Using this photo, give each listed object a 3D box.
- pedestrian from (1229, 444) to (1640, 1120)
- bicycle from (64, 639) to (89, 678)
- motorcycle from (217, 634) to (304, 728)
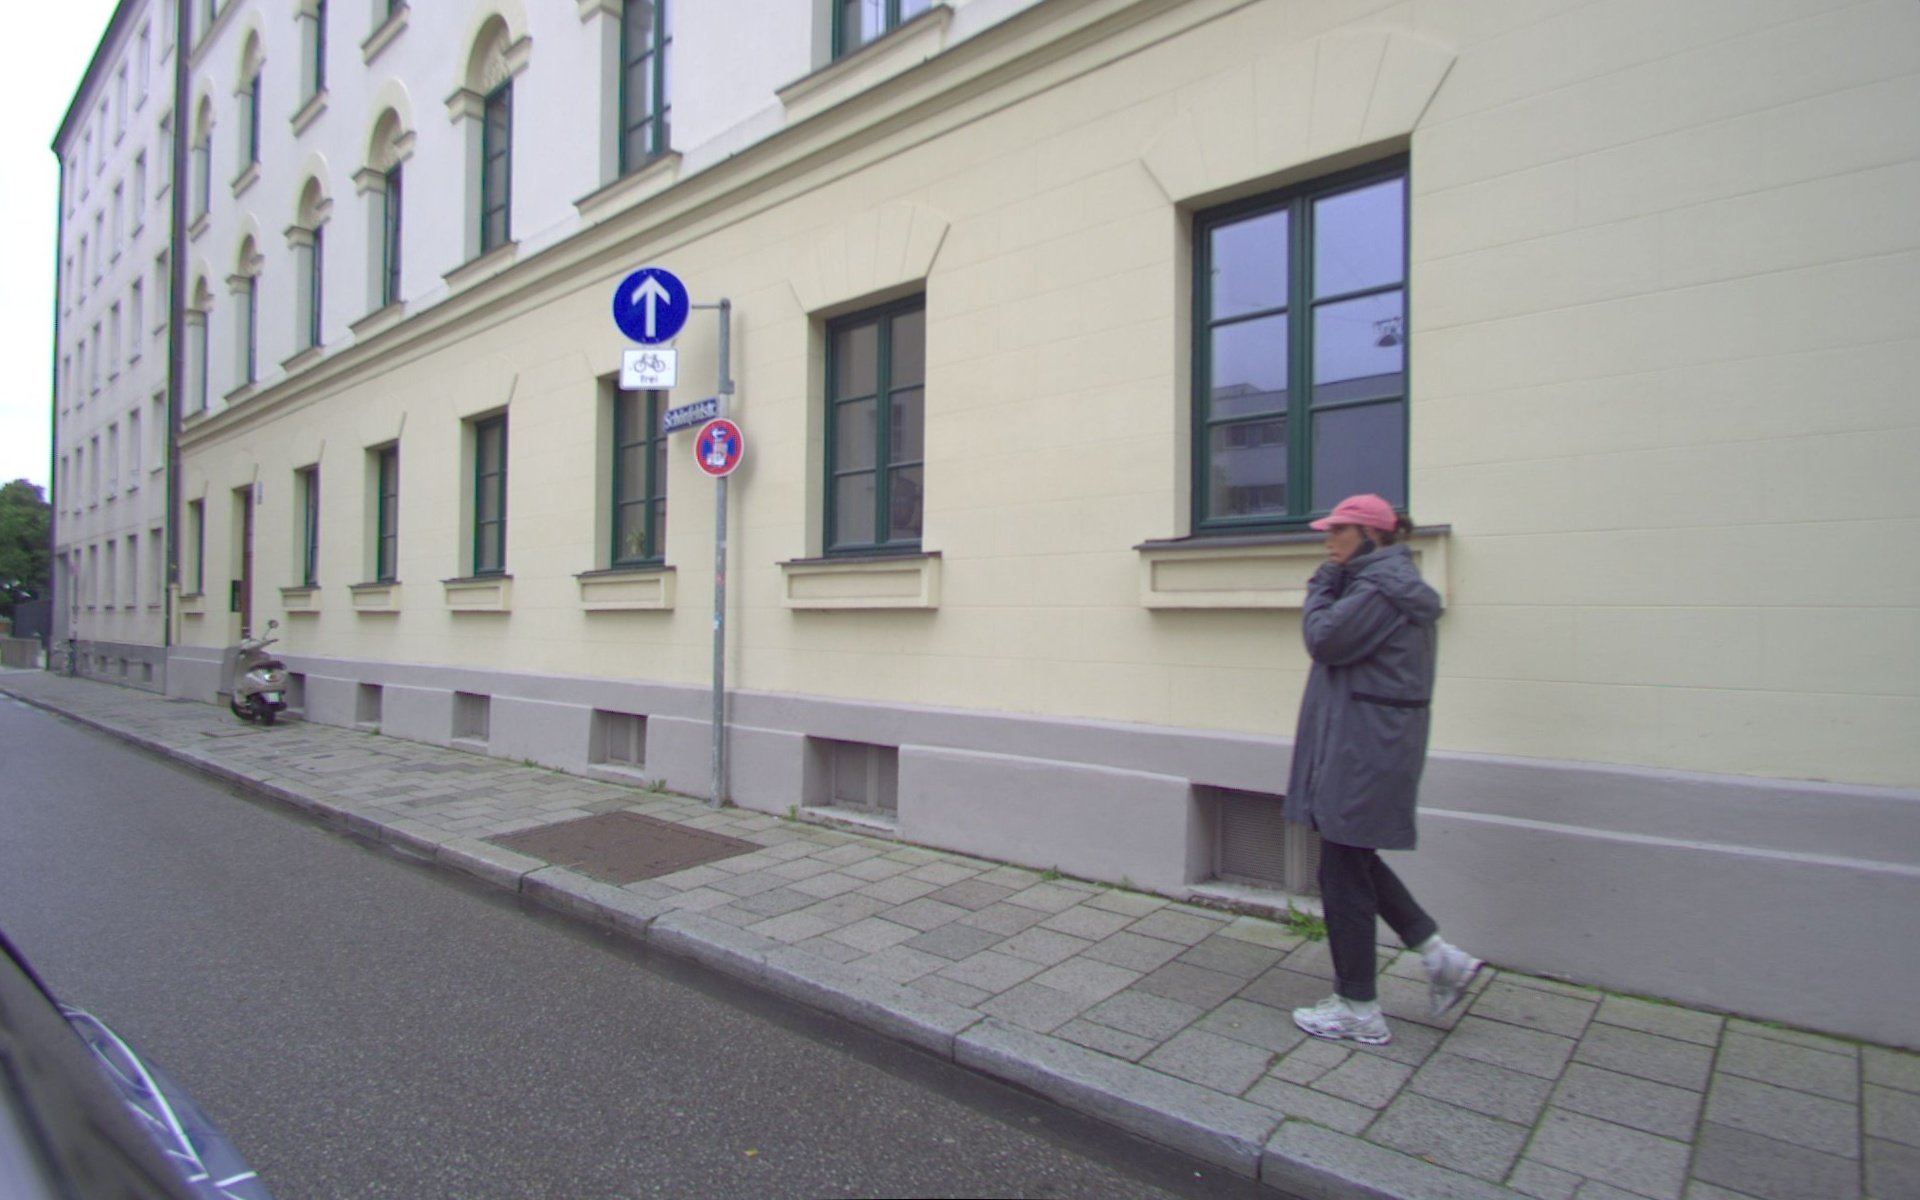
[{"bbox_3d":[1.537,0.490,3.290,0.989,1.769,0.801,-3,-2,39],"label":"pedestrian"},{"bbox_3d":[-22.943,1.498,26.286,1.574,0.951,0.316,-1,1,43],"label":"bicycle"},{"bbox_3d":[-9.465,1.056,13.669,1.708,1.183,0.595,-1,-1,42],"label":"motorcycle"}]
